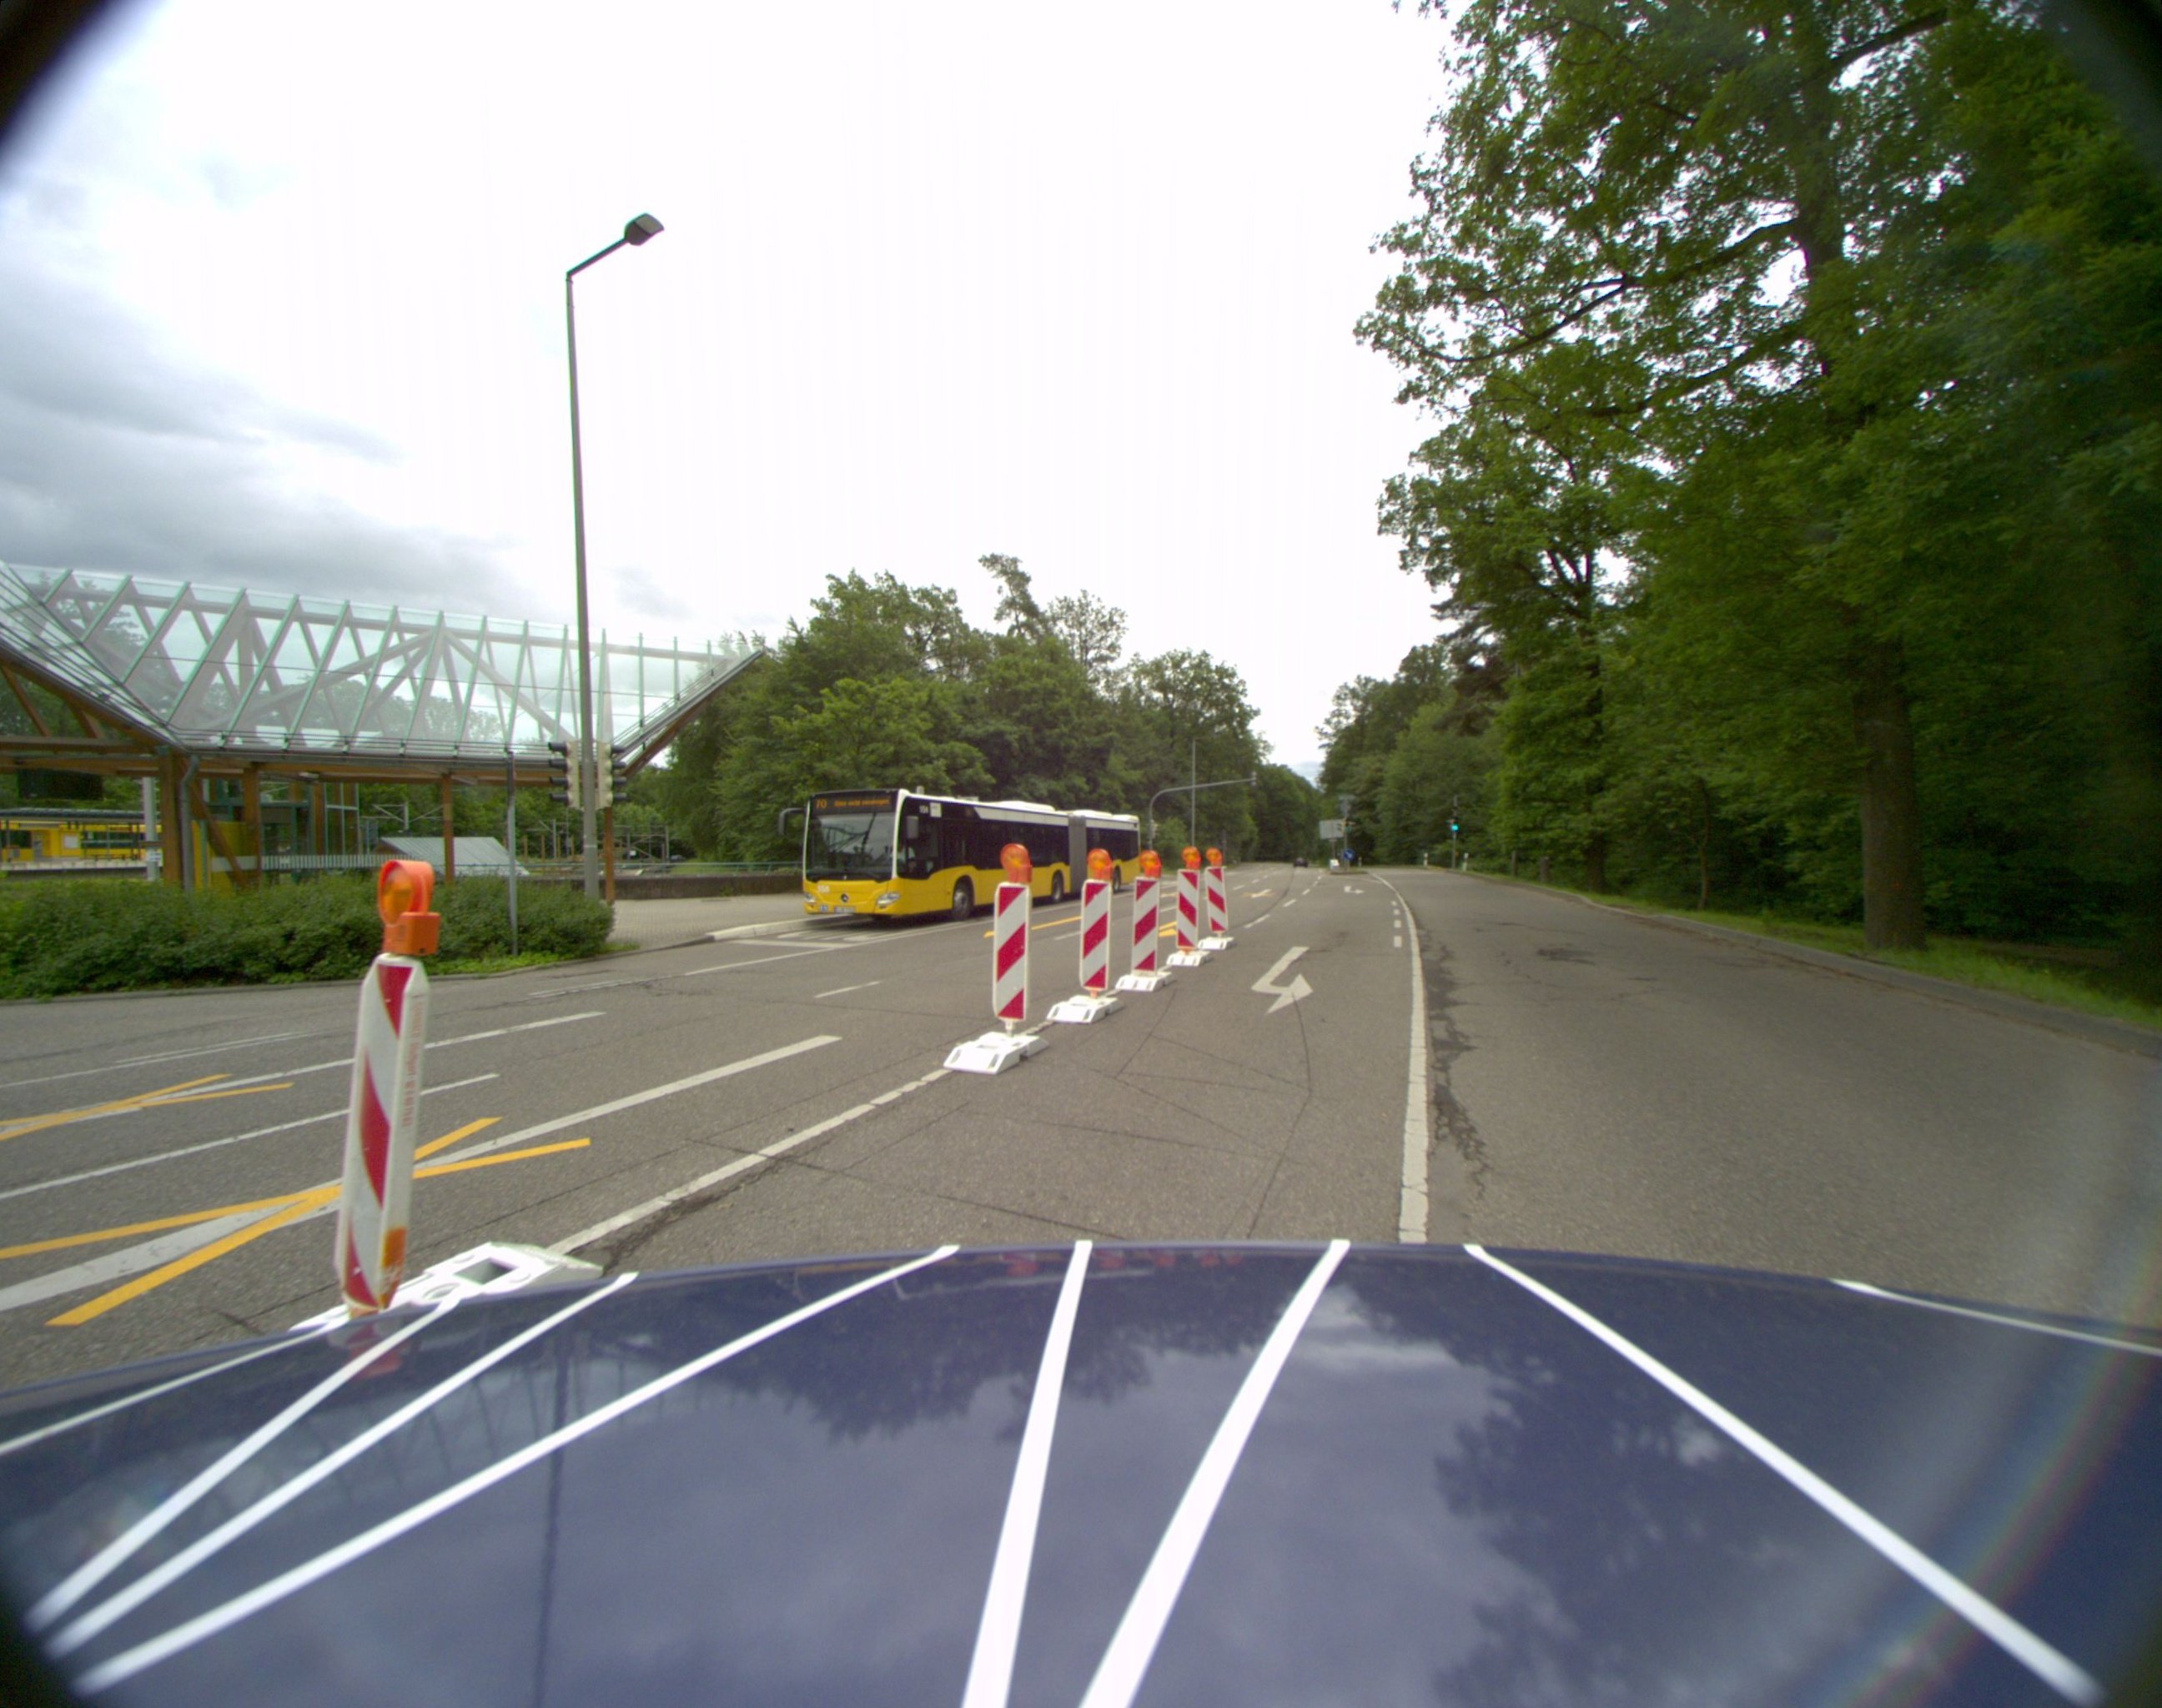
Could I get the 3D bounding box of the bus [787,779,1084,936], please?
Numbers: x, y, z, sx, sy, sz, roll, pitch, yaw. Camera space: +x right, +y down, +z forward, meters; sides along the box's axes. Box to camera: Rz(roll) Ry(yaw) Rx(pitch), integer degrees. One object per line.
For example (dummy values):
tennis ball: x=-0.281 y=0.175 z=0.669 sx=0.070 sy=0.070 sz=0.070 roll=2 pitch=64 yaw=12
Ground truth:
bus: x=-3.063 y=0.038 z=20.545 sx=2.806 sy=3.140 sz=10.533 roll=-1 pitch=0 yaw=20

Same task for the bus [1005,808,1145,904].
bus: x=0.056 y=0.043 z=29.130 sx=2.806 sy=3.141 sz=7.768 roll=-1 pitch=0 yaw=20

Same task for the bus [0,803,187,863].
bus: x=-65.619 y=-1.202 z=46.058 sx=3.980 sy=3.463 sz=18.556 roll=-2 pitch=1 yaw=-11

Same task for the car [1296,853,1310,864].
car: x=30.036 y=0.545 z=102.844 sx=1.749 sy=1.322 sz=4.004 roll=-1 pitch=1 yaw=16
